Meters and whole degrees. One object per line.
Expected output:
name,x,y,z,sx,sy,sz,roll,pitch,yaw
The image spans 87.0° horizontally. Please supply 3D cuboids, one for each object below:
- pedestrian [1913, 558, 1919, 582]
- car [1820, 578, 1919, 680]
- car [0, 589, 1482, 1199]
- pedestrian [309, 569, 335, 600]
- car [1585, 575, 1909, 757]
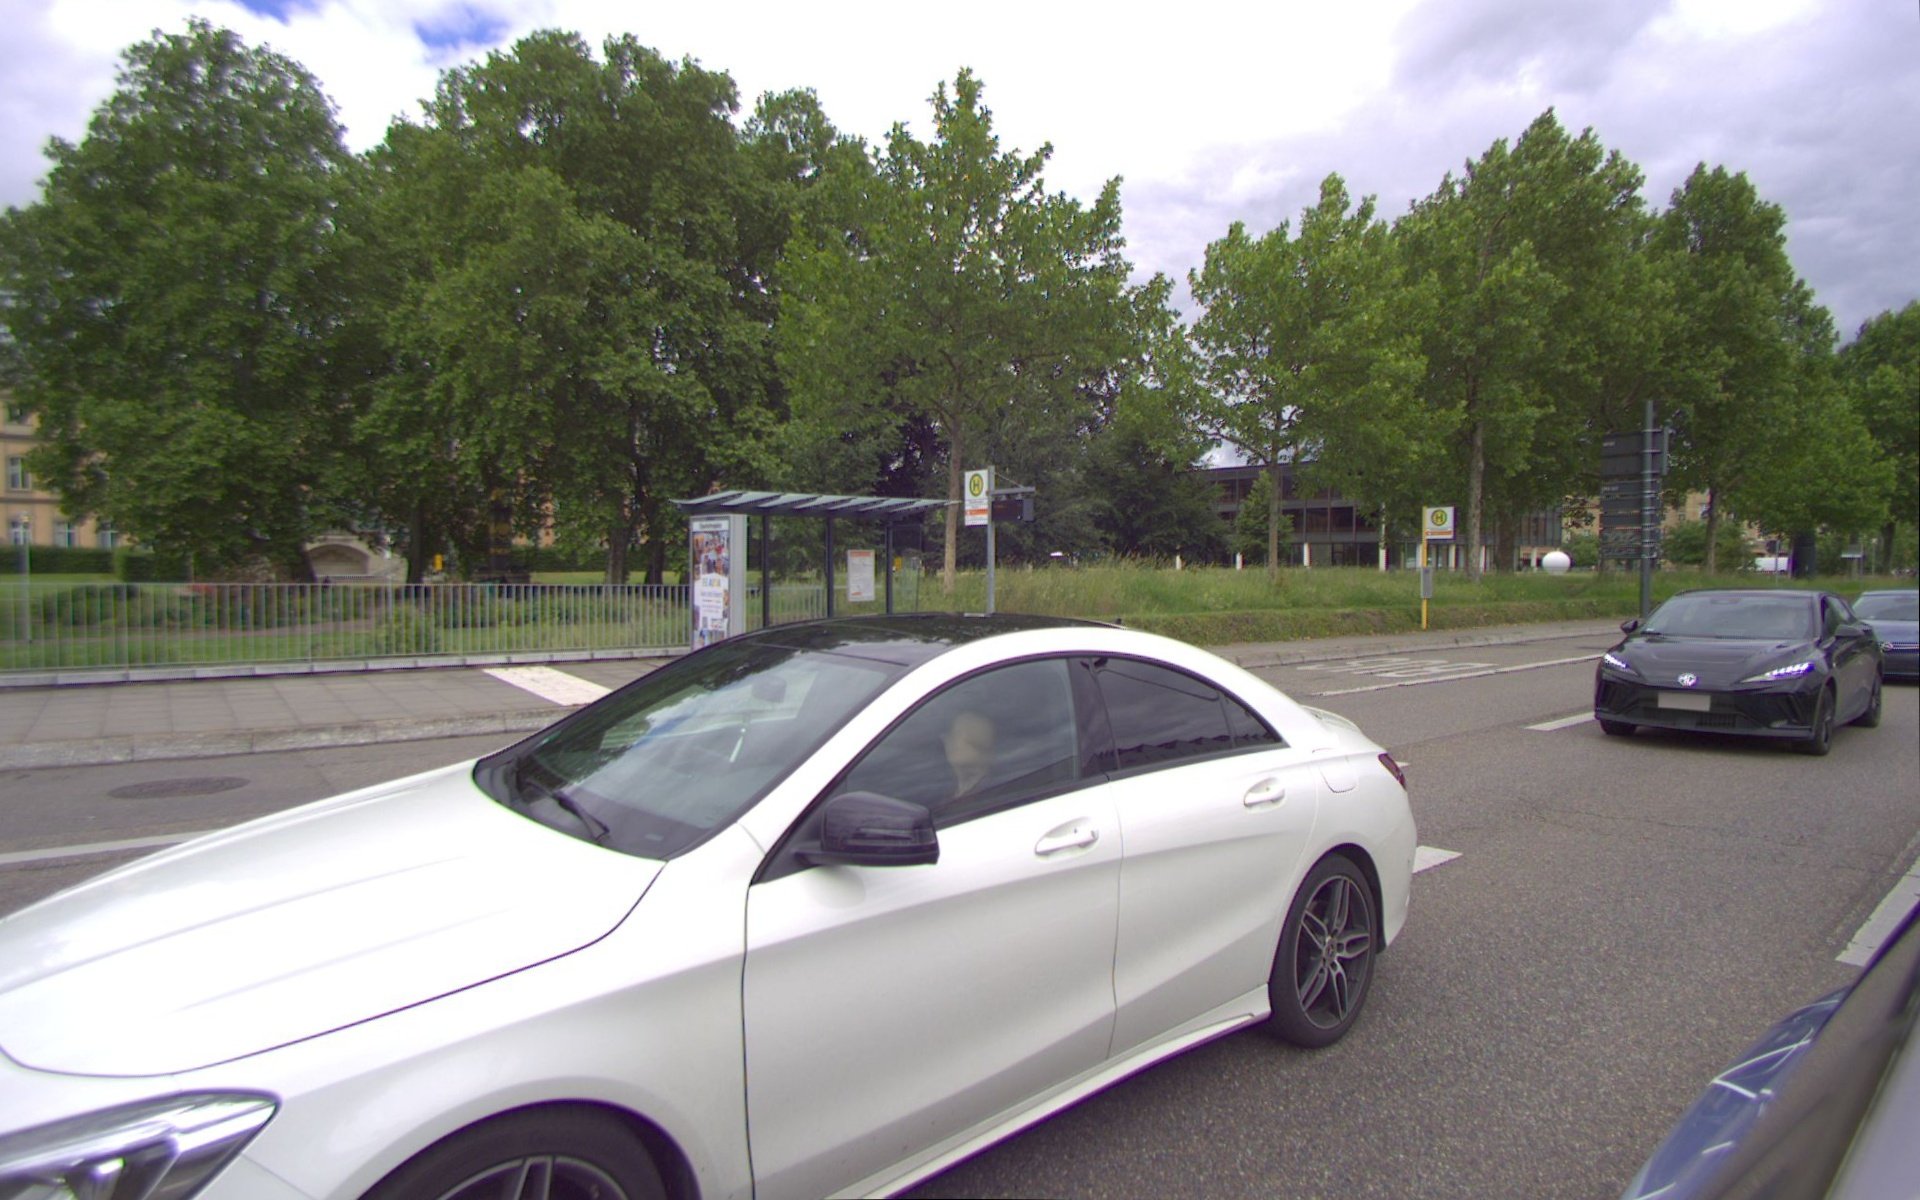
pedestrian,82.368,-2.574,86.658,1.160,2.039,0.891,-2,0,-40
car,15.245,0.391,16.045,3.944,1.452,1.804,-1,2,-40
car,-0.262,0.723,3.208,4.446,1.437,1.799,-1,2,-39
pedestrian,-42.476,-1.039,67.382,1.092,2.039,0.936,-1,0,22
car,8.284,0.509,10.538,4.020,1.508,1.852,-1,2,-40
